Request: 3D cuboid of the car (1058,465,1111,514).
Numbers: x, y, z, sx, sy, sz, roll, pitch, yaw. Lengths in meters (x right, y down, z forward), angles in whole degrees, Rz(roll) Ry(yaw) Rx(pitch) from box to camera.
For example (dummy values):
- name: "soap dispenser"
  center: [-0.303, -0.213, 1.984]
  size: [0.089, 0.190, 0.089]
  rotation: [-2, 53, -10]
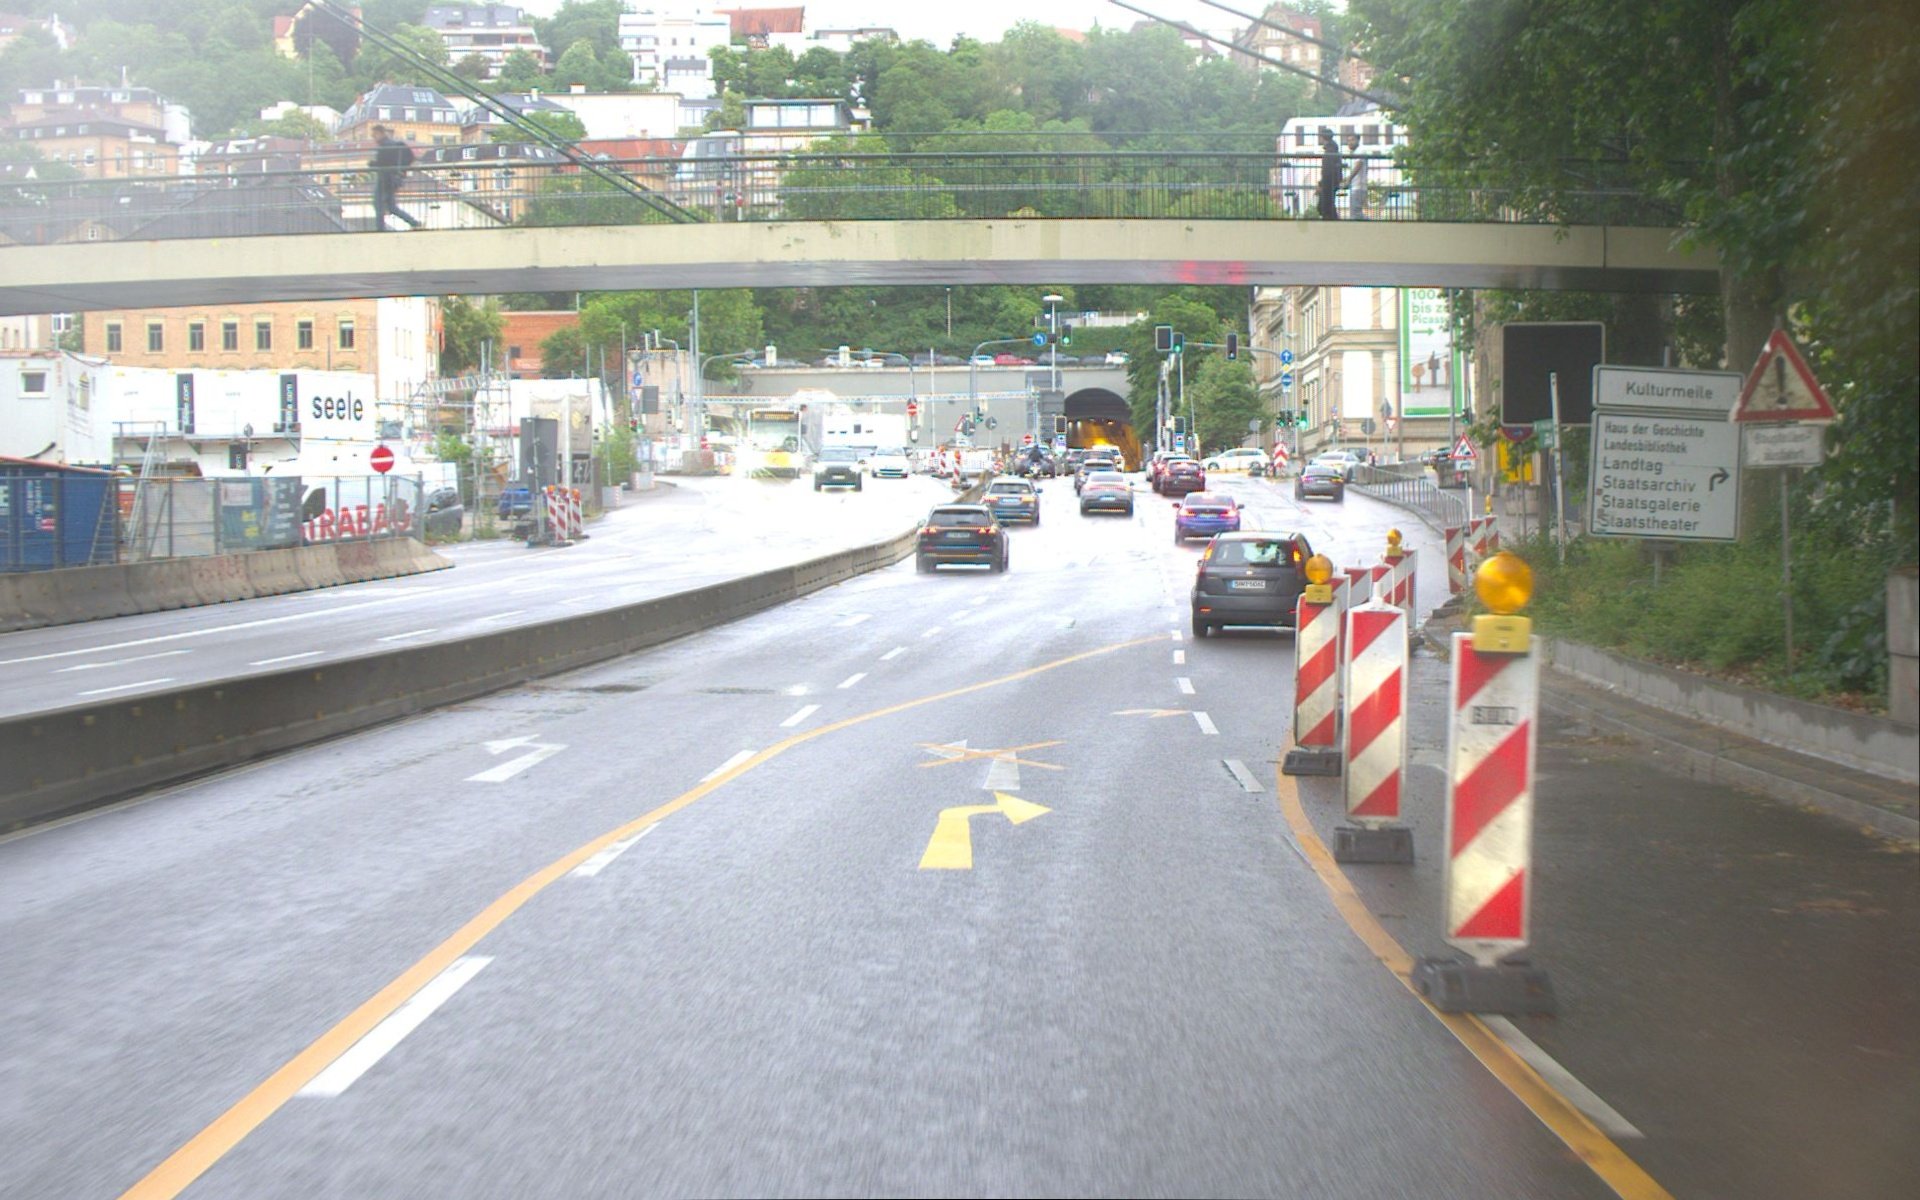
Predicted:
- name: "car"
  center: [5.044, -4.483, 139.918]
  size: [1.993, 1.863, 4.000]
  rotation: [-1, 1, 0]

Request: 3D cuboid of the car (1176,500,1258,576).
- name: "car"
  center: [7.247, -1.748, 97.274]
  size: [2.105, 2.043, 4.000]
  rotation: [-1, 1, 2]

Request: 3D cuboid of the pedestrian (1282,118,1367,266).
- name: "pedestrian"
  center: [5.446, -6.075, 51.335]
  size: [1.148, 2.053, 1.059]
  rotation: [-1, 1, 10]

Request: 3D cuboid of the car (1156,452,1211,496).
- name: "car"
  center: [9.218, -5.201, 142.152]
  size: [1.993, 1.693, 4.000]
  rotation: [-1, 1, 0]

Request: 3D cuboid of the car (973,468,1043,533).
- name: "car"
  center: [1.561, -3.182, 110.684]
  size: [1.994, 2.007, 4.000]
  rotation: [-1, 1, 4]

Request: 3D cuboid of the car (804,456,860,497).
- name: "car"
  center: [-5.316, -5.161, 143.419]
  size: [2.081, 1.625, 4.853]
  rotation: [-1, 2, 1]

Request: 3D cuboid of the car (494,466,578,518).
- name: "car"
  center: [-14.435, -3.699, 117.320]
  size: [1.994, 1.616, 4.000]
  rotation: [0, 3, 6]

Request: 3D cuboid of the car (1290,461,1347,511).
- name: "car"
  center: [14.465, -4.619, 138.908]
  size: [1.993, 2.006, 4.000]
  rotation: [0, 2, 1]

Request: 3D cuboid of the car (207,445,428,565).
- name: "car"
  center: [-16.004, -2.370, 85.961]
  size: [1.997, 2.865, 6.043]
  rotation: [-1, 1, 29]

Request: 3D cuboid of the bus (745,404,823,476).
- name: "bus"
  center: [-8.140, -7.385, 159.888]
  size: [2.806, 3.173, 8.808]
  rotation: [-1, 2, 2]

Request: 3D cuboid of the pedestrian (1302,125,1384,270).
- name: "pedestrian"
  center: [5.836, -6.111, 52.318]
  size: [1.148, 2.053, 1.059]
  rotation: [-1, 1, 10]

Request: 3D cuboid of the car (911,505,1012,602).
- name: "car"
  center: [0.061, -1.016, 74.987]
  size: [2.017, 2.007, 4.000]
  rotation: [-1, 1, 2]

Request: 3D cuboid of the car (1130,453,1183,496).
- name: "car"
  center: [8.462, -5.399, 148.208]
  size: [1.993, 1.693, 4.000]
  rotation: [-1, 1, 0]

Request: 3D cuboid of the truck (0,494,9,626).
- name: "truck"
  center: [-20.874, -0.676, 62.863]
  size: [6.275, 2.444, 2.694]
  rotation: [-1, 1, -5]

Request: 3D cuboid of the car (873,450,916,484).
- name: "car"
  center: [-3.029, -6.190, 159.962]
  size: [1.709, 1.484, 3.450]
  rotation: [-1, 1, 3]

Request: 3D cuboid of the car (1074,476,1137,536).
- name: "car"
  center: [5.066, -3.289, 120.415]
  size: [2.051, 2.007, 4.000]
  rotation: [-1, 1, 1]

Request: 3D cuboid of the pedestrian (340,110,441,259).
- name: "pedestrian"
  center: [-8.418, -6.139, 50.866]
  size: [1.148, 2.053, 1.059]
  rotation: [-1, 1, 10]

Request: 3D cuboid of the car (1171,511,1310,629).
- name: "car"
  center: [3.884, -0.432, 47.563]
  size: [1.812, 1.521, 4.000]
  rotation: [-1, 1, 5]

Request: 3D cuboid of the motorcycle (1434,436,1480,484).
- name: "motorcycle"
  center: [21.562, -6.109, 149.329]
  size: [1.796, 2.006, 3.813]
  rotation: [0, 3, 6]
